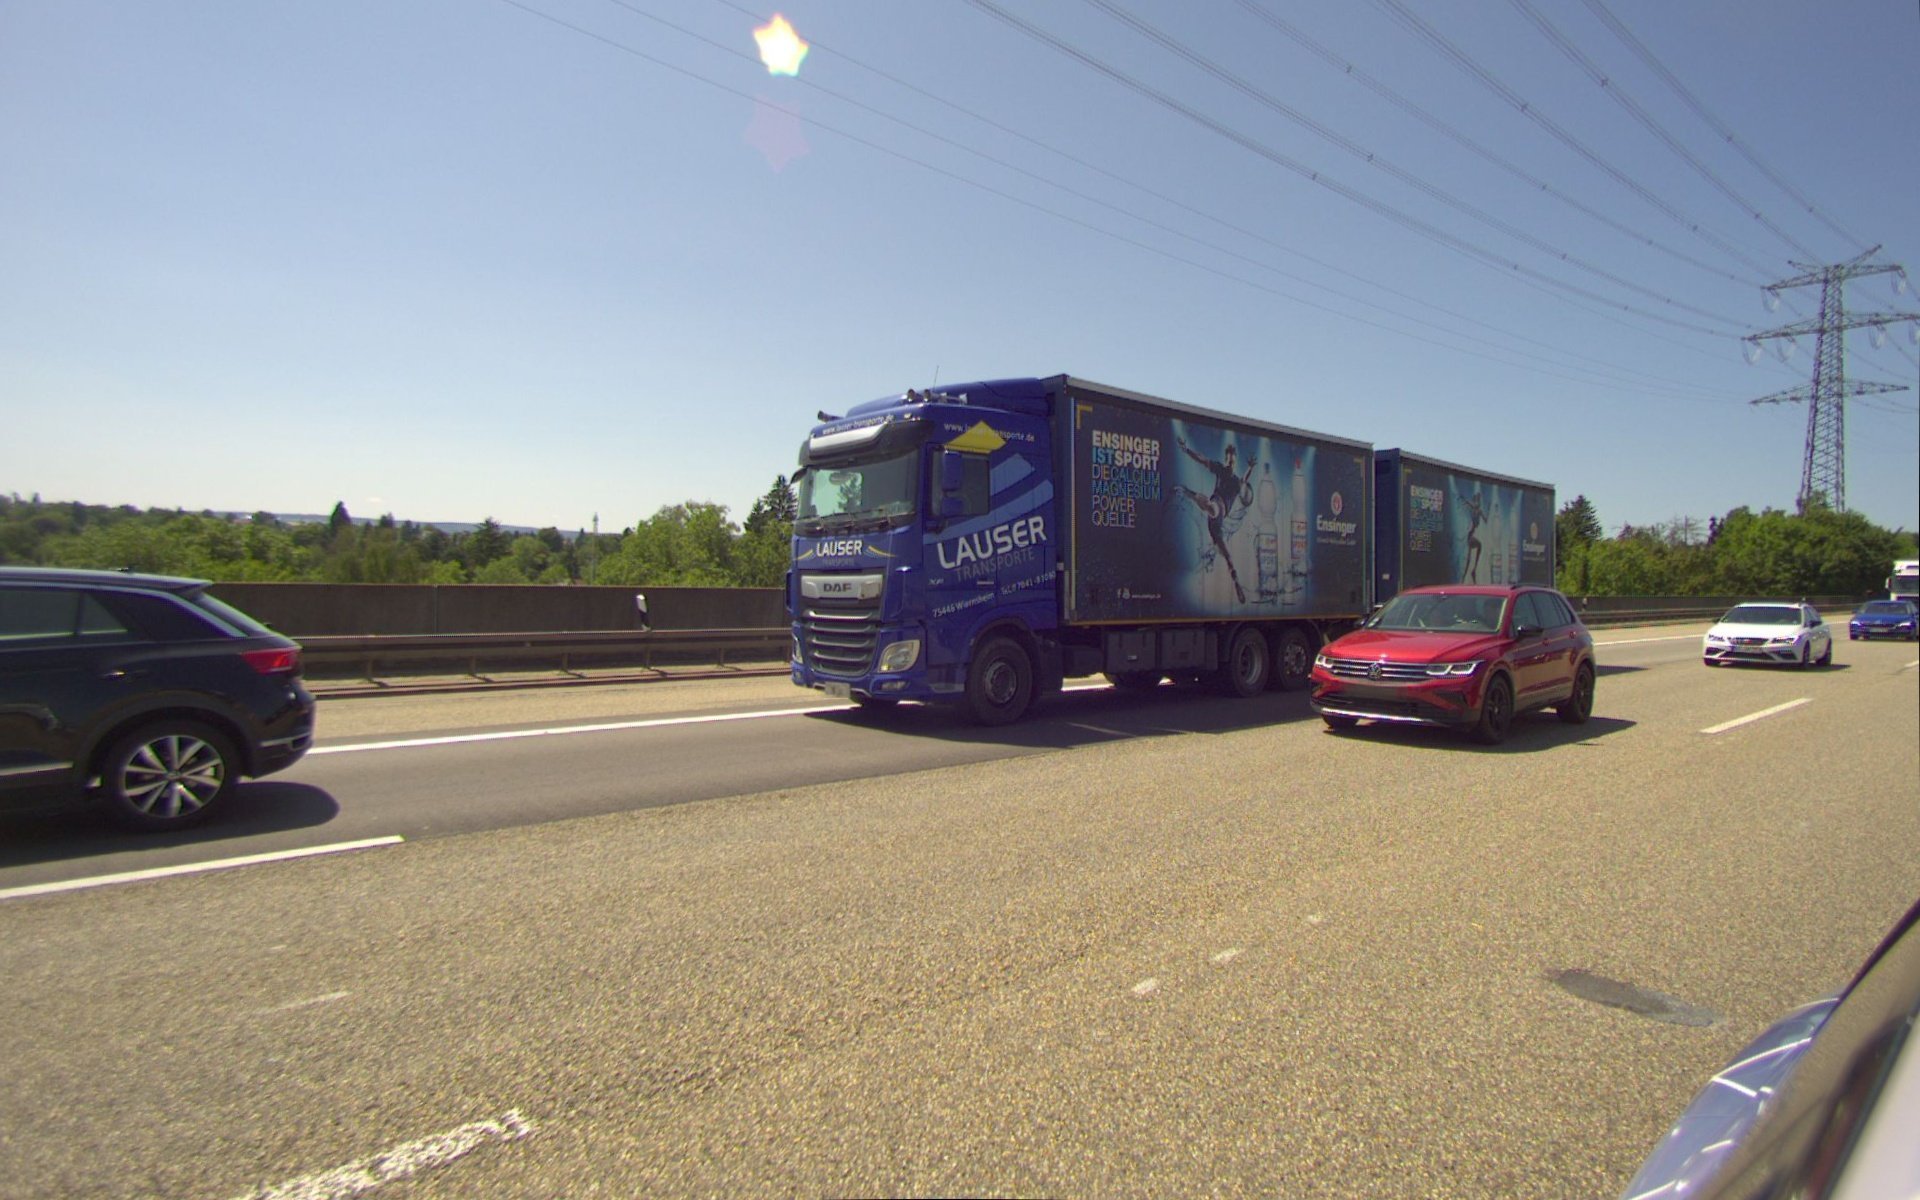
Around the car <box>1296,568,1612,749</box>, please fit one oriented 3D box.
[{"bbox_3d":[5.686,0.518,11.421,4.151,1.683,1.778,0,1,-42],"label":"car"}]

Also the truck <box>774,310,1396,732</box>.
[{"bbox_3d":[2.500,-0.845,14.233,10.266,4.117,2.527,-1,1,-42],"label":"truck"}]

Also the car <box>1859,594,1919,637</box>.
[{"bbox_3d":[34.348,0.515,36.929,4.136,1.463,1.739,0,1,-40],"label":"car"}]

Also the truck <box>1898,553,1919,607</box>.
[{"bbox_3d":[68.845,-1.398,71.341,10.778,3.604,2.982,-1,0,-42],"label":"truck"}]

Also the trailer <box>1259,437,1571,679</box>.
[{"bbox_3d":[9.459,-0.724,20.435,8.332,3.994,2.570,0,0,-42],"label":"trailer"}]

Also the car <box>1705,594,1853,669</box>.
[{"bbox_3d":[18.286,0.628,22.541,4.000,1.508,1.842,0,0,-40],"label":"car"}]

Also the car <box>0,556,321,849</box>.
[{"bbox_3d":[-6.053,0.541,5.629,4.035,1.546,1.739,0,0,-41],"label":"car"}]
